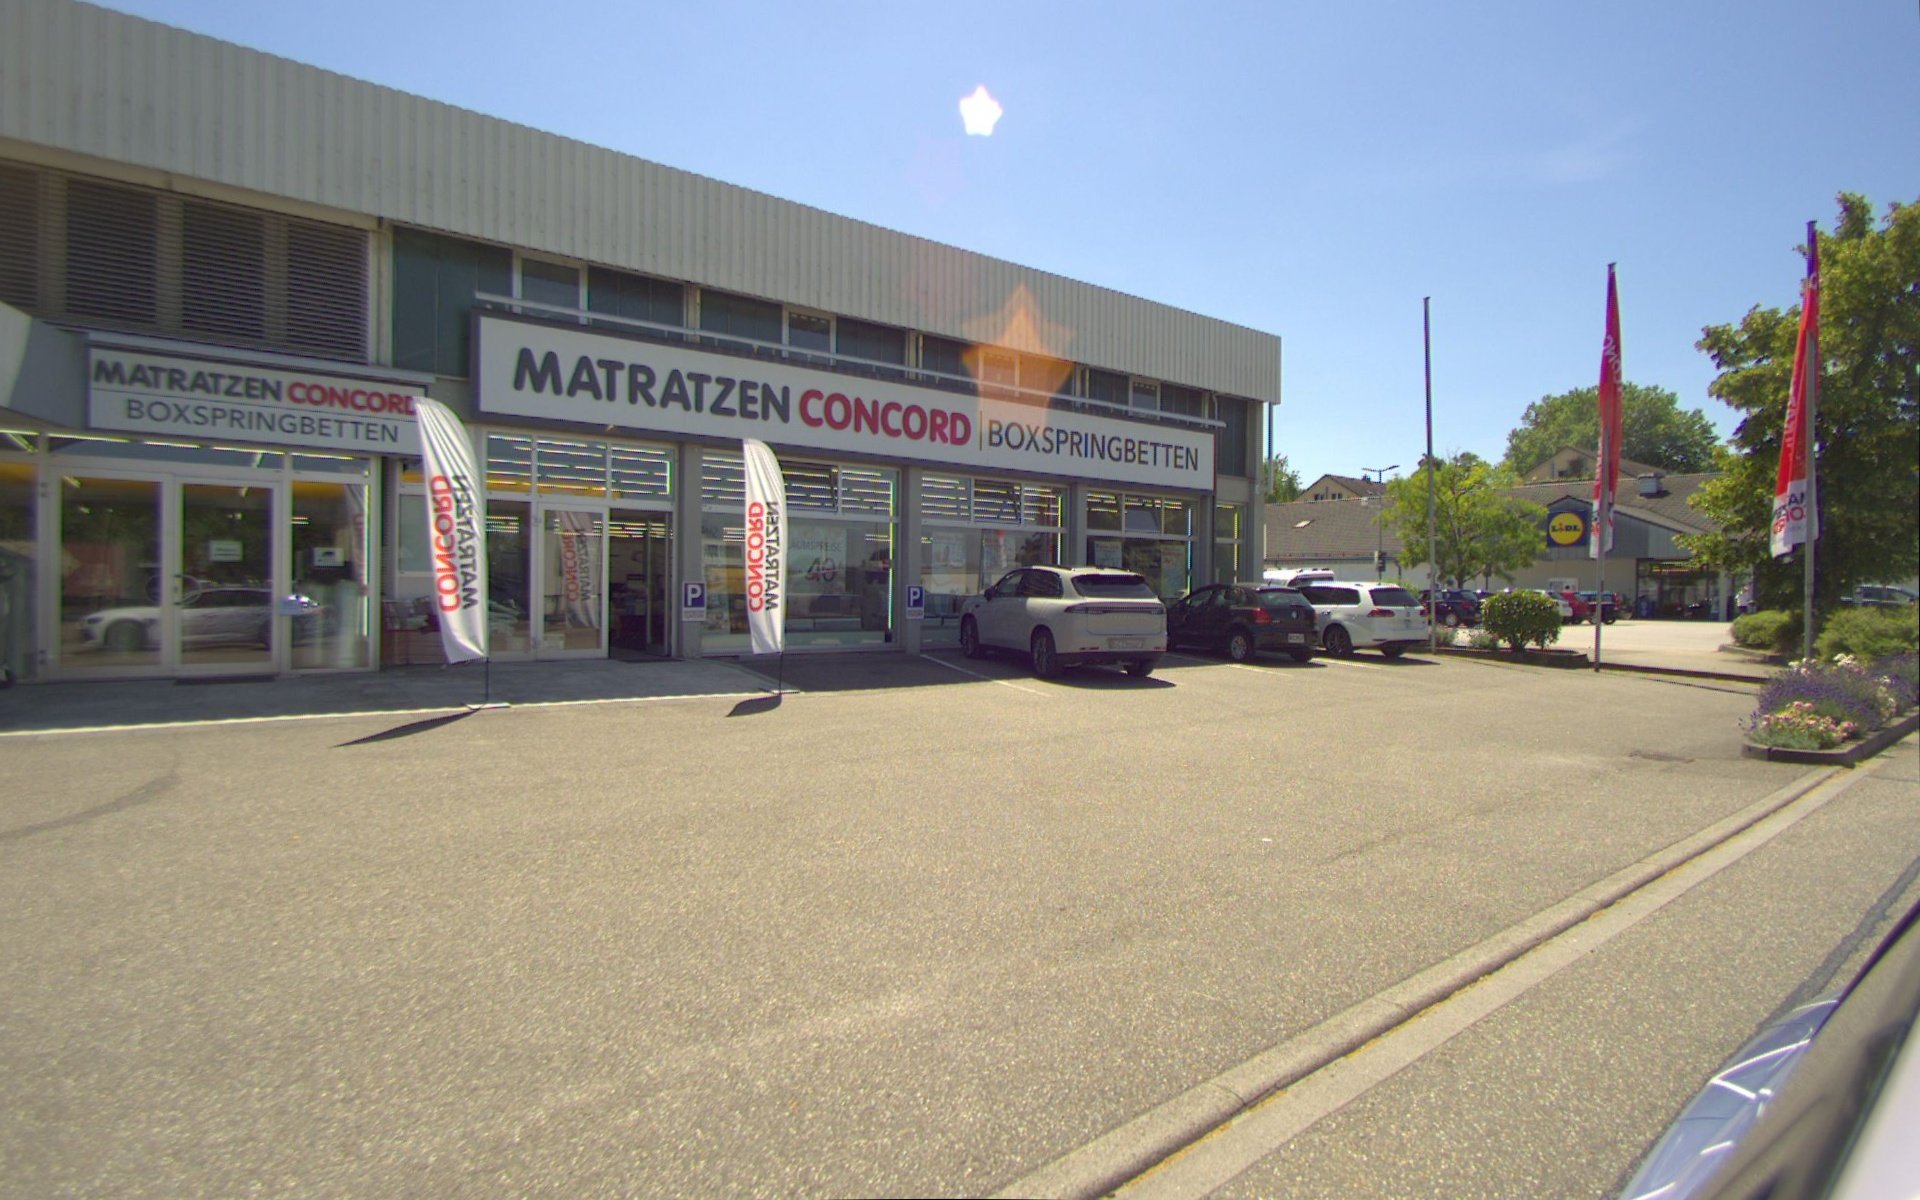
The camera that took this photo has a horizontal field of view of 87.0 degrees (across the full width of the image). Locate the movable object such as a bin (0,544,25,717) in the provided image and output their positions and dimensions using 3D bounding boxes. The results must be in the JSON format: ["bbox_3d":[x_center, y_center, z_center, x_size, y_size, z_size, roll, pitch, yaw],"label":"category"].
[{"bbox_3d":[-8.459,0.253,8.472,0.688,1.440,1.569,0,3,-34],"label":"movable object such as a bin"}]

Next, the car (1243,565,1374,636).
[{"bbox_3d":[10.058,-0.036,29.097,4.183,1.914,1.708,-1,1,-41],"label":"car"}]

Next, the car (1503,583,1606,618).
[{"bbox_3d":[26.476,0.037,45.151,1.714,1.476,3.606,-1,0,-37],"label":"car"}]

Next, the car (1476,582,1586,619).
[{"bbox_3d":[24.664,0.015,43.809,1.785,1.523,3.732,-1,0,-37],"label":"car"}]

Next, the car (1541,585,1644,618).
[{"bbox_3d":[28.706,0.082,45.998,1.641,1.435,3.606,-1,0,-37],"label":"car"}]

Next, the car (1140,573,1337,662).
[{"bbox_3d":[5.317,0.268,19.832,1.643,1.552,3.875,-1,1,-23],"label":"car"}]

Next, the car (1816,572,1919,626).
[{"bbox_3d":[30.947,-0.036,32.823,1.857,1.688,4.531,-1,0,-33],"label":"car"}]

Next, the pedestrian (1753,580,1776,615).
[{"bbox_3d":[40.934,-0.138,51.519,0.770,1.775,0.700,-1,0,-34],"label":"pedestrian"}]

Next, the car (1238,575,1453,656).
[{"bbox_3d":[7.798,0.254,20.865,1.768,1.479,4.007,-1,1,-26],"label":"car"}]

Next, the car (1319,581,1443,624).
[{"bbox_3d":[15.789,0.104,38.125,1.624,1.551,3.991,-1,0,-42],"label":"car"}]

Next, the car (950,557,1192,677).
[{"bbox_3d":[1.614,0.186,16.593,1.958,1.662,4.606,-1,1,-22],"label":"car"}]

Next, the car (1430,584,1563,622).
[{"bbox_3d":[21.077,0.093,39.894,1.868,1.408,4.251,-1,1,-40],"label":"car"}]

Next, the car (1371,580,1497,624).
[{"bbox_3d":[18.306,0.096,39.201,1.776,1.583,4.029,-2,0,-39],"label":"car"}]

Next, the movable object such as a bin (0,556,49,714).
[{"bbox_3d":[-9.316,0.319,9.730,0.689,1.462,0.856,-1,3,-34],"label":"movable object such as a bin"}]

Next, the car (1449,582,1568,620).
[{"bbox_3d":[22.778,0.054,42.136,1.696,1.496,4.029,-1,0,-36],"label":"car"}]

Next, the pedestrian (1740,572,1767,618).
[{"bbox_3d":[35.576,-0.249,45.390,0.789,2.039,0.784,-1,0,-38],"label":"pedestrian"}]
